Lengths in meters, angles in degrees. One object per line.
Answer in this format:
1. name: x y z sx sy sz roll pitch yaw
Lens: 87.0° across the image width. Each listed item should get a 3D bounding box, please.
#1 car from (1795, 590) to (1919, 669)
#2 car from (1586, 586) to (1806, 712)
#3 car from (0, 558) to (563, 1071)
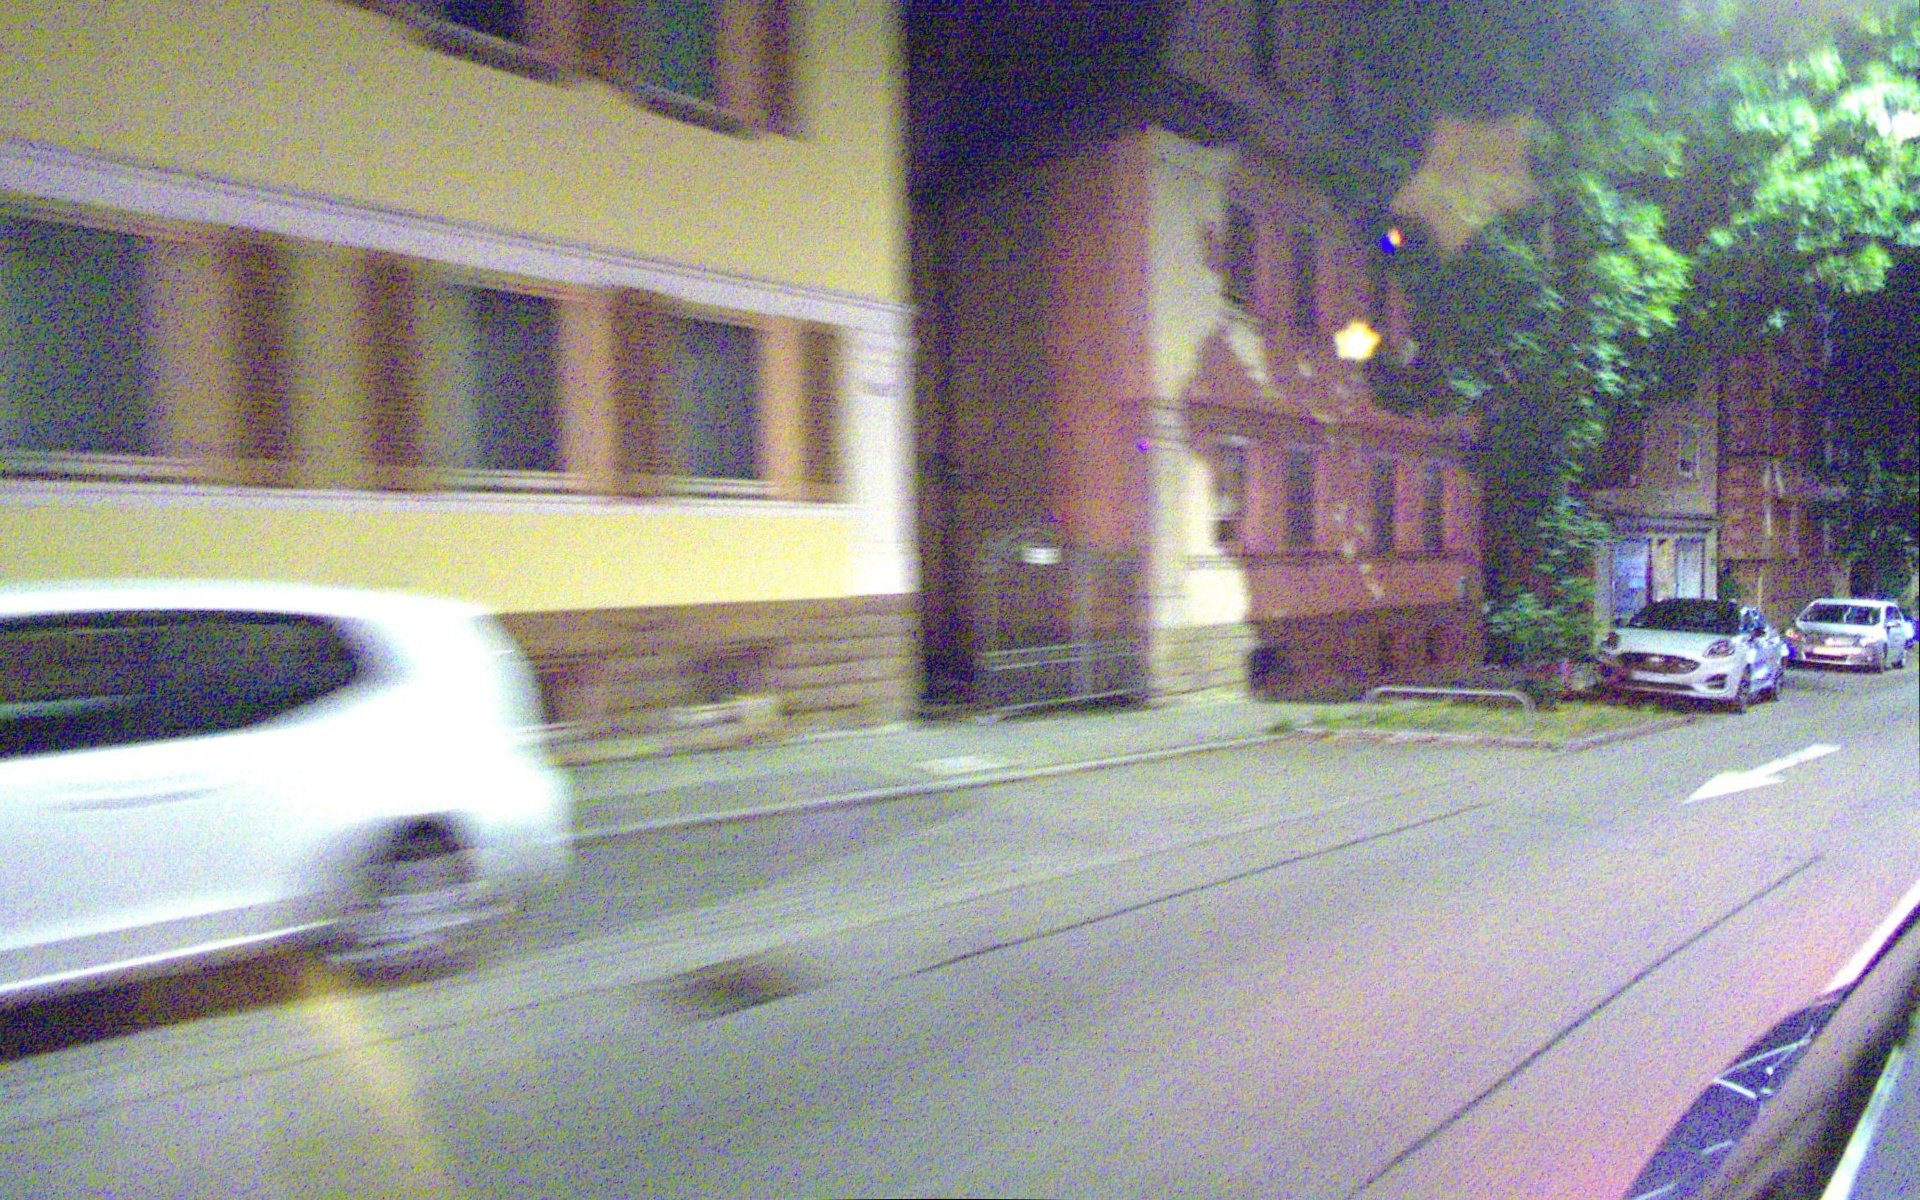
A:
1. car: 21.271 0.631 23.761 4.280 1.617 1.742 0 2 -39
2. car: 11.165 0.636 15.263 3.976 1.572 1.863 0 2 -42
3. car: -3.484 0.613 3.543 3.540 1.503 1.671 0 2 -41
